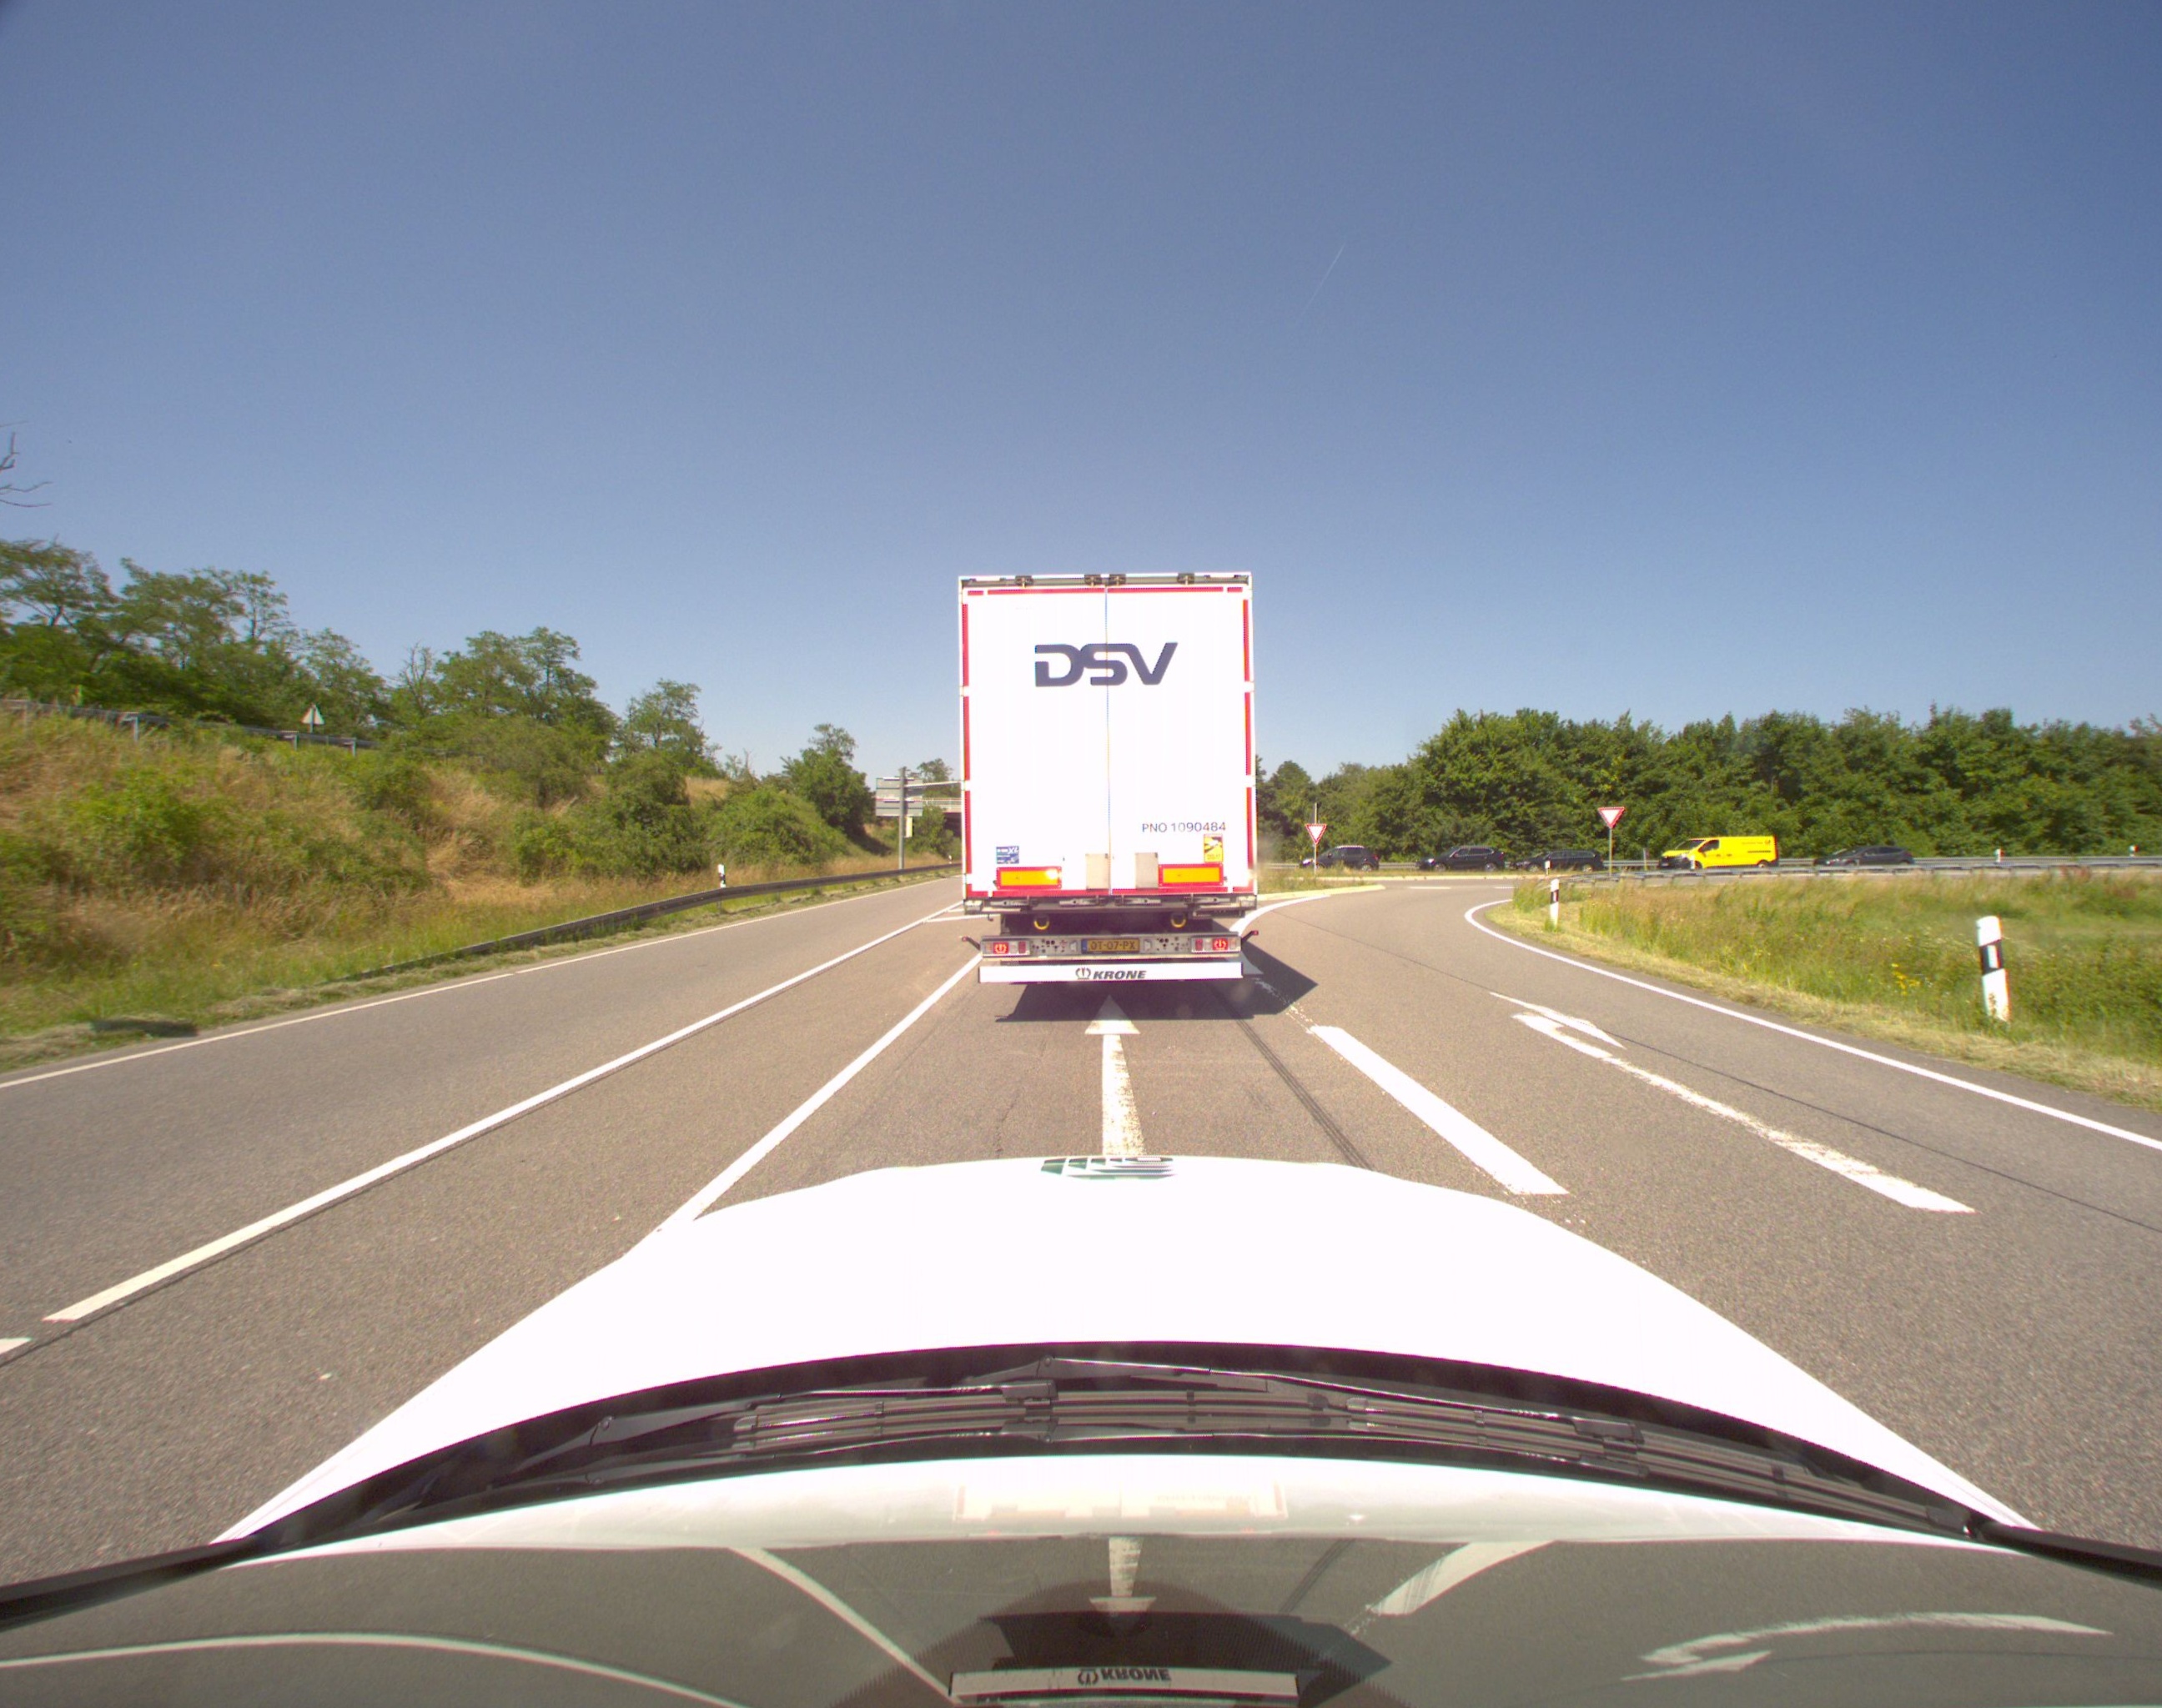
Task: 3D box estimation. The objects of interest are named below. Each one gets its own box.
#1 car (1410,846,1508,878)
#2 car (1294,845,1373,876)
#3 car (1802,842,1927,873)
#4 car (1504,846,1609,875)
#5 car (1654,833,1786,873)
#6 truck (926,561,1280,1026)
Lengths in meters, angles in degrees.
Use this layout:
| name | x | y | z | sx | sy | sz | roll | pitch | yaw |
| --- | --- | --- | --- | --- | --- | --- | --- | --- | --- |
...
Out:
| name | x | y | z | sx | sy | sz | roll | pitch | yaw |
| --- | --- | --- | --- | --- | --- | --- | --- | --- | --- |
| car | 20.226 | 0.420 | 43.706 | 4.466 | 1.598 | 1.770 | -1 | -1 | 4 |
| car | 14.169 | 0.362 | 45.886 | 3.964 | 1.640 | 1.845 | -1 | -1 | 7 |
| car | 41.183 | 0.184 | 42.884 | 4.662 | 1.514 | 1.855 | -1 | -1 | 3 |
| car | 26.187 | 0.342 | 44.964 | 4.655 | 1.514 | 1.858 | -1 | -1 | 8 |
| car | 33.636 | -0.027 | 42.991 | 5.301 | 2.014 | 2.001 | -1 | -1 | 2 |
| truck | 0.295 | -0.512 | 11.894 | 2.977 | 3.942 | 9.877 | -1 | 0 | 1 |
